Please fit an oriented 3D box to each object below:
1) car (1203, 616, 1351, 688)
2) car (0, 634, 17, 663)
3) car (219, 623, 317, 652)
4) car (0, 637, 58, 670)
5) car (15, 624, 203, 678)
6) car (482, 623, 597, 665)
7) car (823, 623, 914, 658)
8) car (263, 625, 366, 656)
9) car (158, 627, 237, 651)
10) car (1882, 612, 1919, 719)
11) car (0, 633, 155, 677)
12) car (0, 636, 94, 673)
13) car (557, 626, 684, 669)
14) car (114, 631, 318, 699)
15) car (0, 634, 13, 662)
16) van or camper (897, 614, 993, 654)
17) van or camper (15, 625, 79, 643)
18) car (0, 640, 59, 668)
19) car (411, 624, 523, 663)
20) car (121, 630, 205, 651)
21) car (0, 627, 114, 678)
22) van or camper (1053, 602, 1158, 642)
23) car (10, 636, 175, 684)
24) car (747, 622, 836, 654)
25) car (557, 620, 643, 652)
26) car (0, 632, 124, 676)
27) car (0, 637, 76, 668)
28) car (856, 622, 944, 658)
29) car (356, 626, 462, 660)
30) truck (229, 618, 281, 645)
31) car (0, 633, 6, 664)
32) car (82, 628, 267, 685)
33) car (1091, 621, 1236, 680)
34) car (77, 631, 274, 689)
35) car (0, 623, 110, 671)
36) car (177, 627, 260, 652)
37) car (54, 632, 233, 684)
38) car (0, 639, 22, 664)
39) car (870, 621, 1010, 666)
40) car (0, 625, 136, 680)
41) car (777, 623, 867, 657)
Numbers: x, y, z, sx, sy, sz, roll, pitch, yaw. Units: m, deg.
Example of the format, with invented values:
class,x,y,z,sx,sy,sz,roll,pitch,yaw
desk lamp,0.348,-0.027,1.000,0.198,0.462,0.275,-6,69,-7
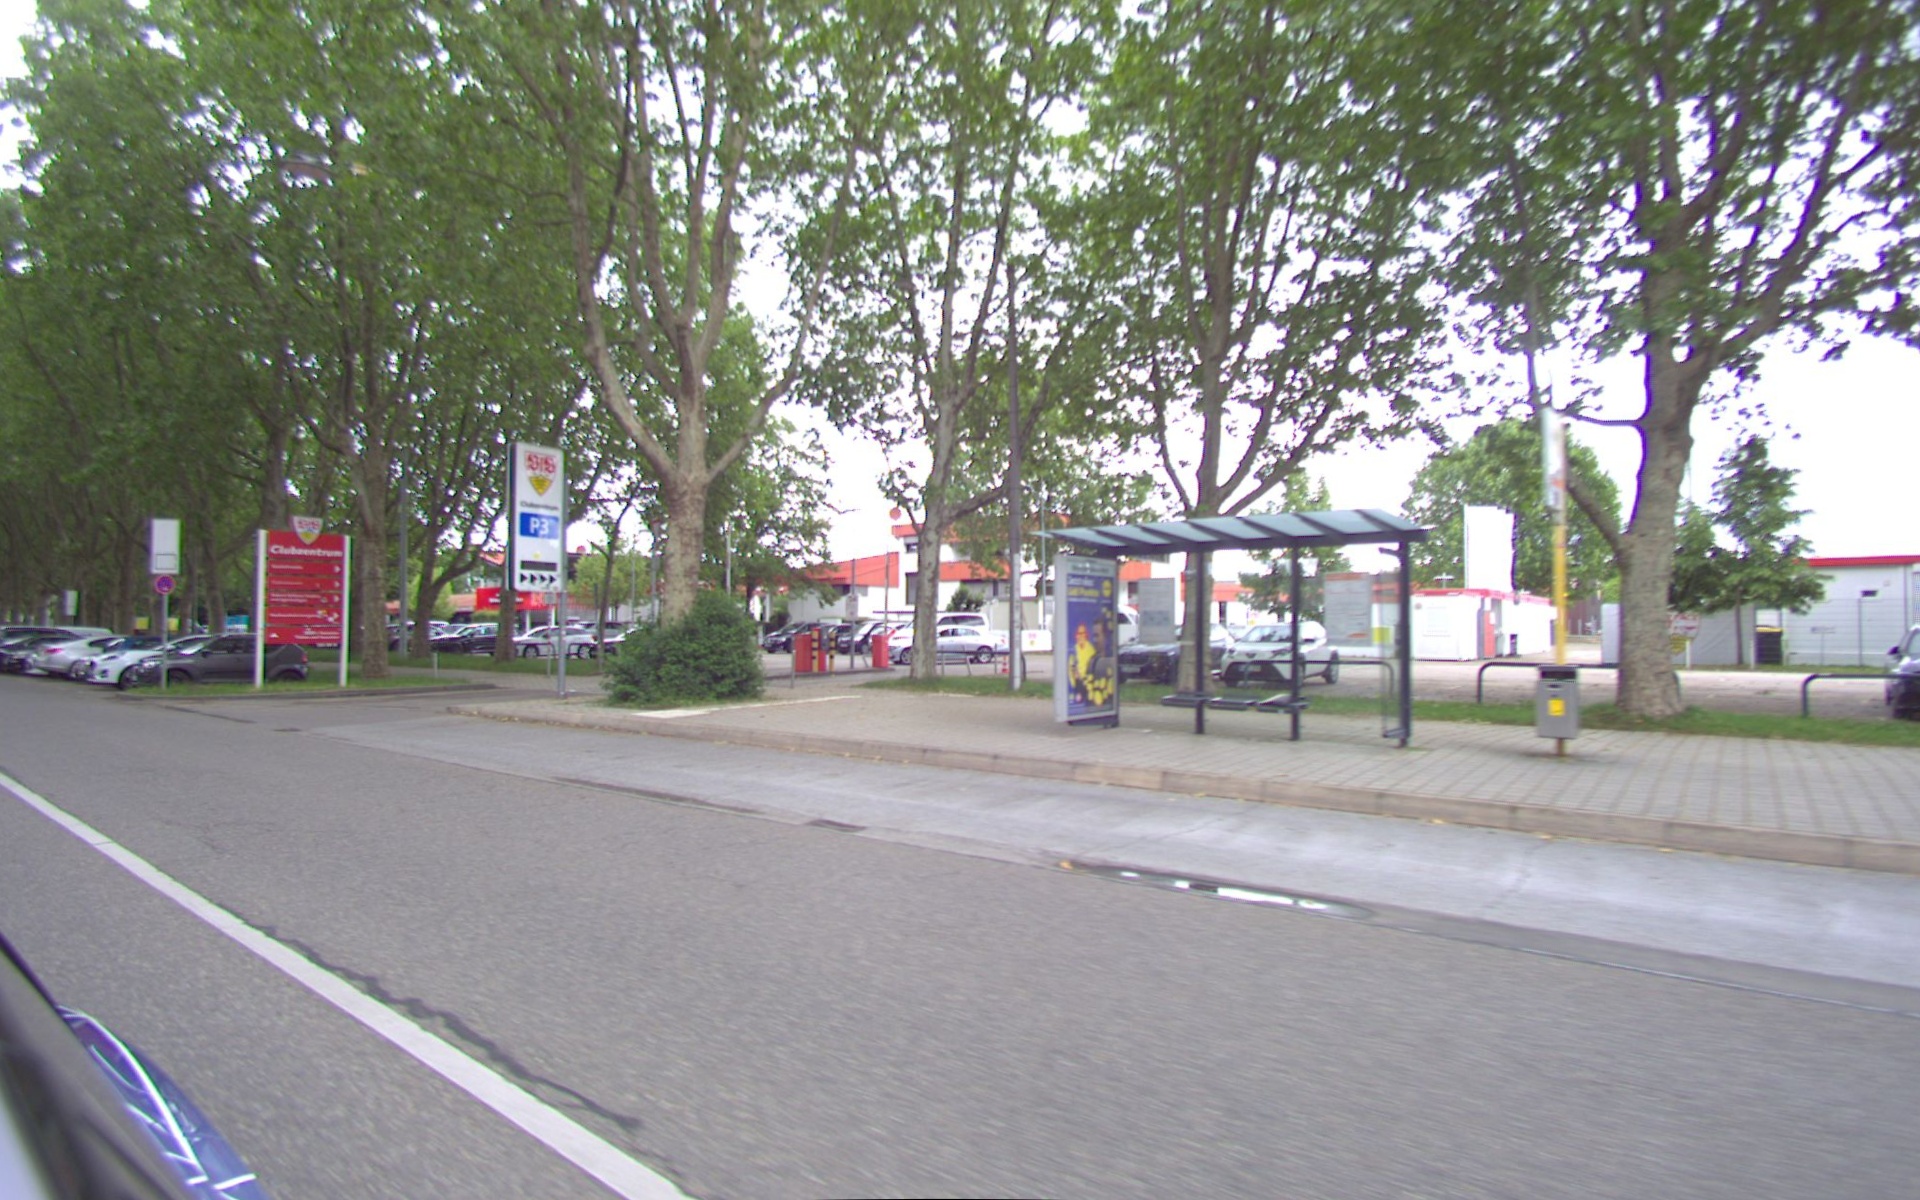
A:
class,x,y,z,sx,sy,sz,roll,pitch,yaw
car,7.573,1.160,23.983,2.000,1.534,3.947,-1,-1,39
car,-52.252,2.493,52.633,1.701,1.493,4.420,-2,-4,38
car,-45.781,2.441,67.054,2.179,1.810,4.896,-1,-1,37
car,-42.754,2.339,44.855,1.755,1.432,3.935,-2,-5,42
car,-27.053,1.660,32.288,1.905,1.560,4.223,-1,-5,37
car,-18.718,1.918,45.211,2.129,1.722,4.279,-1,-1,38
car,-4.362,1.925,48.638,1.956,1.560,4.279,-1,-1,38
car,-39.677,2.484,62.272,2.179,1.810,4.896,-2,-2,37
car,-59.052,3.010,78.429,1.997,1.734,4.510,-1,-4,37
car,16.304,0.995,16.263,2.108,1.579,4.577,0,-1,41
car,-31.057,1.892,35.435,1.964,1.364,4.150,-1,-1,37
car,-38.683,2.262,42.009,1.757,1.483,3.757,-1,-4,28
car,-13.424,1.852,40.190,2.201,1.560,4.279,-1,-1,38
car,-19.095,1.601,26.106,1.804,1.552,3.952,-1,-1,41
car,-50.479,2.396,50.932,1.701,1.409,3.893,-2,-4,38
van or camper,-0.639,1.500,45.760,2.129,1.722,4.279,-1,-1,38
van or camper,-106.871,3.958,118.533,2.240,2.115,5.236,-1,-1,37
car,-47.762,2.648,50.064,1.857,1.377,4.420,-2,-5,38
car,-24.378,2.117,50.135,2.293,1.775,4.475,-1,-1,38
car,-67.973,3.429,86.378,2.092,1.608,5.297,-1,-1,38
car,-34.988,1.954,38.304,2.035,1.809,4.274,-1,-1,39
van or camper,7.767,1.186,54.368,5.296,2.029,1.974,-1,-1,39
car,-29.047,1.963,33.979,1.883,1.415,3.949,-1,-1,38
car,-8.474,1.884,51.268,1.956,1.560,4.279,-1,-1,38
car,-22.230,2.206,62.614,2.297,1.869,4.527,-1,-1,44
car,-33.165,1.959,36.679,2.012,1.463,4.085,-2,-5,41
car,-44.164,2.436,46.980,1.878,1.380,4.419,-2,-4,39
car,-2.741,1.836,46.975,1.787,1.560,4.177,-1,-1,38
car,-29.680,2.271,54.625,2.293,1.739,4.508,-1,-1,38
truck,-73.748,3.240,105.845,2.373,2.737,3.949,-1,-1,38
car,-55.904,2.664,56.288,1.749,1.721,3.893,-2,-4,38
car,-22.761,1.586,29.430,1.830,1.505,3.954,-1,-1,39
car,5.151,1.194,25.330,1.999,1.334,3.948,-1,-1,38
car,-21.158,1.557,27.390,1.911,1.395,3.950,-1,-1,43
car,-36.752,1.878,40.125,1.863,1.824,4.279,-2,-4,35
car,-54.821,2.923,74.893,1.997,1.734,4.510,-1,-4,37
car,-24.750,1.714,30.776,1.860,1.416,3.948,-1,-1,39
car,-53.661,2.781,54.810,1.824,1.375,3.893,-2,-4,38
car,-0.782,1.604,38.077,4.894,1.564,2.106,0,-1,-15
car,-31.710,1.835,35.281,1.866,1.824,4.274,-2,-4,39
car,-6.732,1.920,49.731,1.956,1.560,4.279,-1,-1,38
